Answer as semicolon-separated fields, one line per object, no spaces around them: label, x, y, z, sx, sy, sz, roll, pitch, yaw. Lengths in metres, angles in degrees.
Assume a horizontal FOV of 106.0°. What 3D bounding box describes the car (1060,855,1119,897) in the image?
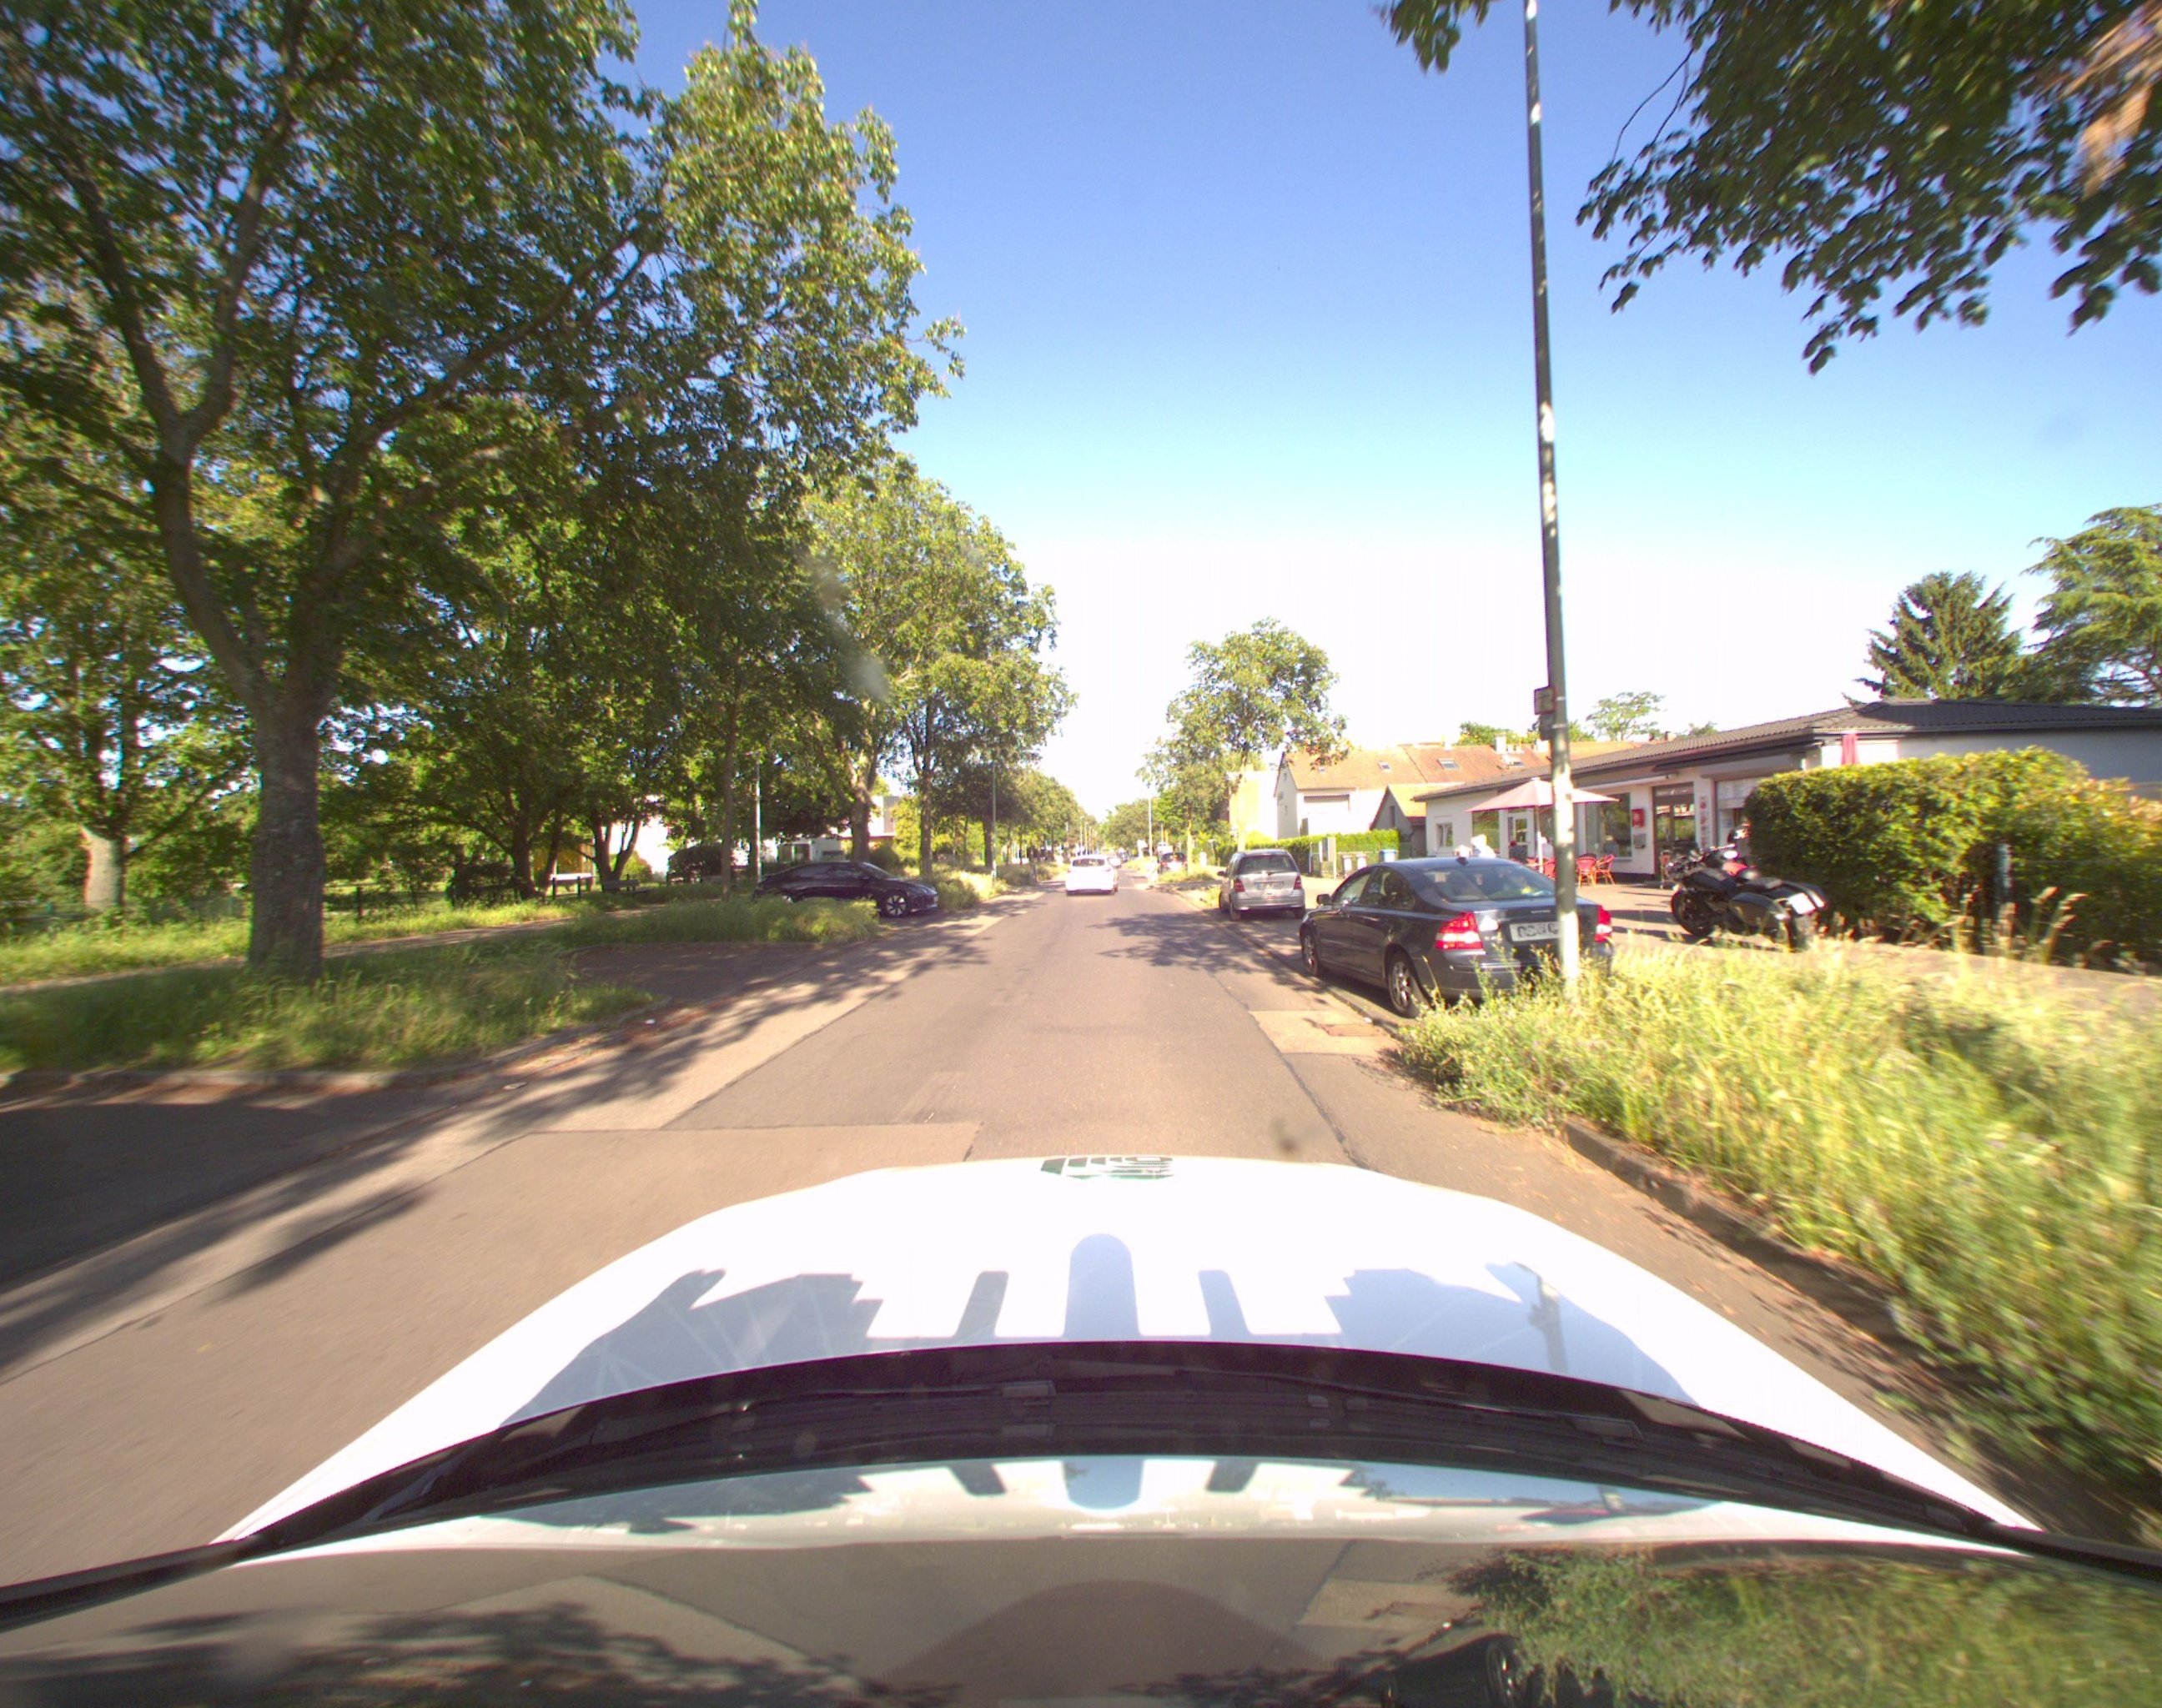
car;0.405;0.792;31.298;1.985;1.455;4.229;-1;0;4

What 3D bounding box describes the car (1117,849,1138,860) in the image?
car;8.847;0.090;155.243;3.973;2.014;2.000;-1;-1;0

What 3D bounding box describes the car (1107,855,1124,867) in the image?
car;4.293;0.887;101.992;1.986;1.508;3.660;2;0;2

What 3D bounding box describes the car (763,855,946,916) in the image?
car;-5.979;0.817;21.867;4.352;1.531;1.808;0;-1;1

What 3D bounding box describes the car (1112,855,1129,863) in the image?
car;9.567;1.174;197.272;3.973;2.013;2.000;-1;0;0

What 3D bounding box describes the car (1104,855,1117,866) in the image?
car;4.377;0.984;120.634;1.810;1.508;3.660;2;0;2

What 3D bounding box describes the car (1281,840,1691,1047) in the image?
car;3.808;0.733;8.720;1.989;1.622;4.375;2;0;-4

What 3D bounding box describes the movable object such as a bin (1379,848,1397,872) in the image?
movable object such as a bin;13.812;0.261;36.643;0.491;1.032;0.747;-4;-1;1

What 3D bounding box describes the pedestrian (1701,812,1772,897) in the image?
pedestrian;14.215;0.003;17.681;0.821;1.778;0.837;-1;0;-10

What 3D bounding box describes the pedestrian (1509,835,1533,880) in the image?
pedestrian;13.564;0.108;25.102;0.437;1.385;0.640;0;-1;7

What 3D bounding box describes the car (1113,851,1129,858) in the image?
car;10.150;0.223;207.551;3.975;1.750;1.999;-1;0;-1

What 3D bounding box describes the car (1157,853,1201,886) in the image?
car;5.567;0.879;46.826;1.987;1.728;3.999;-3;-1;0

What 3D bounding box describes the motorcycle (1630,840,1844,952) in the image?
motorcycle;8.160;0.467;10.318;0.815;1.227;2.352;-3;0;2

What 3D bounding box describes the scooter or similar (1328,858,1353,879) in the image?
scooter or similar;11.104;0.611;34.841;0.368;0.858;1.406;-1;0;-11

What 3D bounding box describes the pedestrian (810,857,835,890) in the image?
pedestrian;-14.612;1.118;46.093;1.227;1.827;1.543;1;-1;-15

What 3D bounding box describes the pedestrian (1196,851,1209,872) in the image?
pedestrian;11.407;0.707;76.656;1.108;2.013;0.922;-1;0;2

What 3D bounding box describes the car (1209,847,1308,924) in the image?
car;4.221;0.704;19.968;1.604;1.622;4.384;2;0;3

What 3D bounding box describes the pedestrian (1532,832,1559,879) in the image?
pedestrian;14.324;0.047;25.118;0.655;1.409;0.496;-4;-1;30
